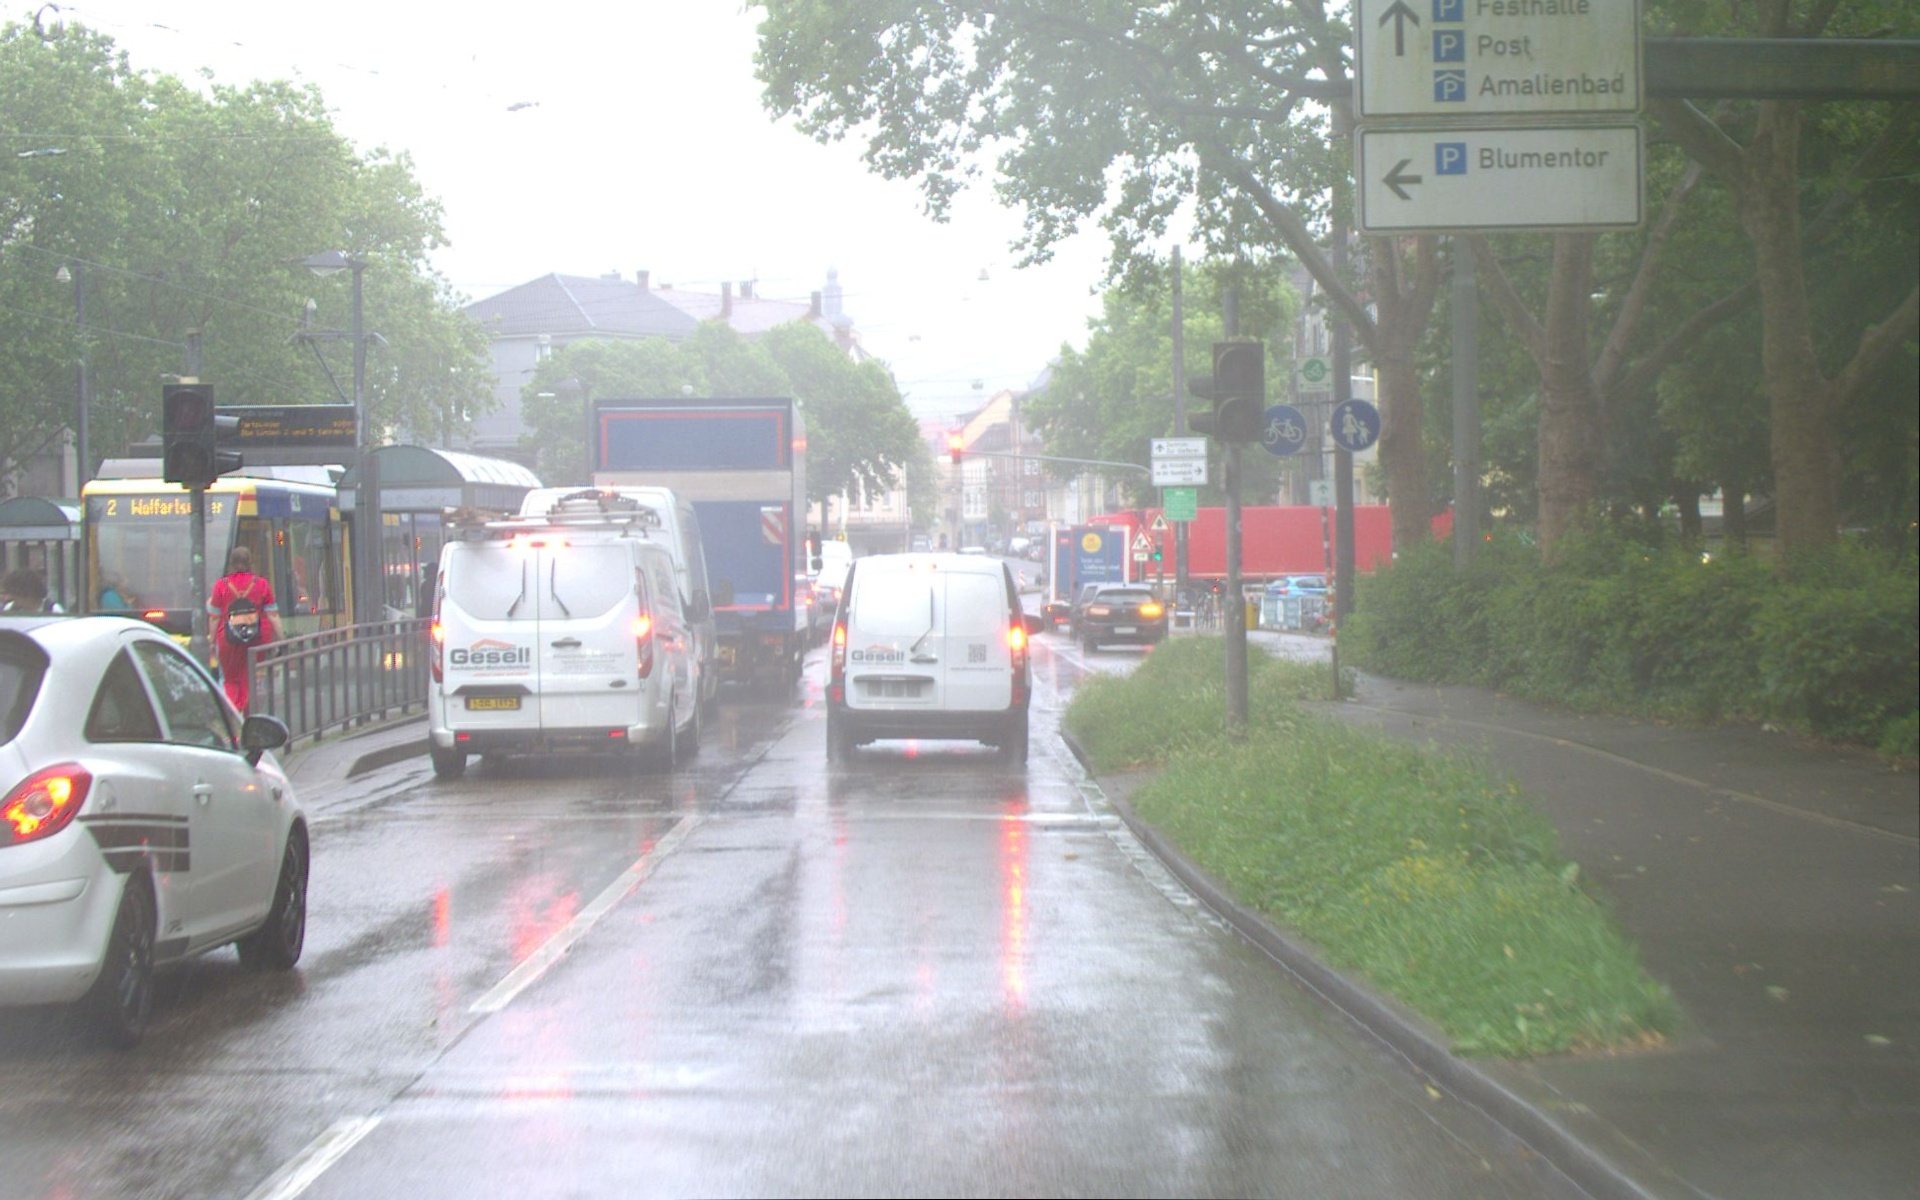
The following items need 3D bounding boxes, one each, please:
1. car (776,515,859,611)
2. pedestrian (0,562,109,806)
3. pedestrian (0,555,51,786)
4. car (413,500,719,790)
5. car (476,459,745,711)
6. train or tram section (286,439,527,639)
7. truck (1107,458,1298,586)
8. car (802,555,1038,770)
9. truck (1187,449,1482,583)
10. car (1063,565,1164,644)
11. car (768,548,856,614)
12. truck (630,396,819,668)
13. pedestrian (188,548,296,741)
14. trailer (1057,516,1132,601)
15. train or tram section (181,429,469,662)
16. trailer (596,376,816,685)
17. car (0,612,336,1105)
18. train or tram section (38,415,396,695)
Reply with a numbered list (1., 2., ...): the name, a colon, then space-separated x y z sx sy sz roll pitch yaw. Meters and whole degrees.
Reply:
1. car: -3.702 -0.977 90.003 1.993 2.434 4.612 0 1 0
2. pedestrian: -6.648 0.599 24.966 0.715 1.739 0.750 -1 0 -1
3. pedestrian: -7.396 0.535 26.230 0.677 1.732 0.808 -1 0 -1
4. car: -3.279 0.357 29.630 1.993 2.254 5.288 -1 0 0
5. car: -3.767 -0.151 38.183 2.329 2.548 6.114 -1 0 0
6. train or tram section: -10.000 -1.169 63.104 2.979 3.274 8.985 -3 2 -1
7. truck: 9.914 -3.183 140.156 7.161 4.883 3.287 -2 2 13
8. car: -0.341 0.523 30.493 1.959 1.771 3.570 -1 0 0
9. truck: 15.139 -3.390 138.869 11.370 4.883 3.287 -2 2 13
10. car: 3.262 0.074 72.282 1.994 1.536 4.000 -1 1 4
11. car: -3.621 -0.475 84.487 1.993 1.573 4.292 0 1 0
12. truck: -3.470 -1.015 51.423 2.580 3.891 4.000 -1 1 -1
13. pedestrian: -6.466 0.396 30.993 0.790 1.709 0.771 1 -1 -1
14. trailer: 3.752 -1.144 96.548 1.993 2.309 4.668 -1 0 1
15. train or tram section: -9.868 -0.911 54.405 2.979 3.274 8.432 -3 2 -1
16. trailer: -3.371 -0.944 47.333 2.590 3.886 7.637 -1 1 -1
17. car: -3.436 0.792 12.270 1.725 1.474 3.805 -1 0 0
18. train or tram section: -9.726 -0.669 46.004 2.961 3.274 8.361 -3 2 -1
